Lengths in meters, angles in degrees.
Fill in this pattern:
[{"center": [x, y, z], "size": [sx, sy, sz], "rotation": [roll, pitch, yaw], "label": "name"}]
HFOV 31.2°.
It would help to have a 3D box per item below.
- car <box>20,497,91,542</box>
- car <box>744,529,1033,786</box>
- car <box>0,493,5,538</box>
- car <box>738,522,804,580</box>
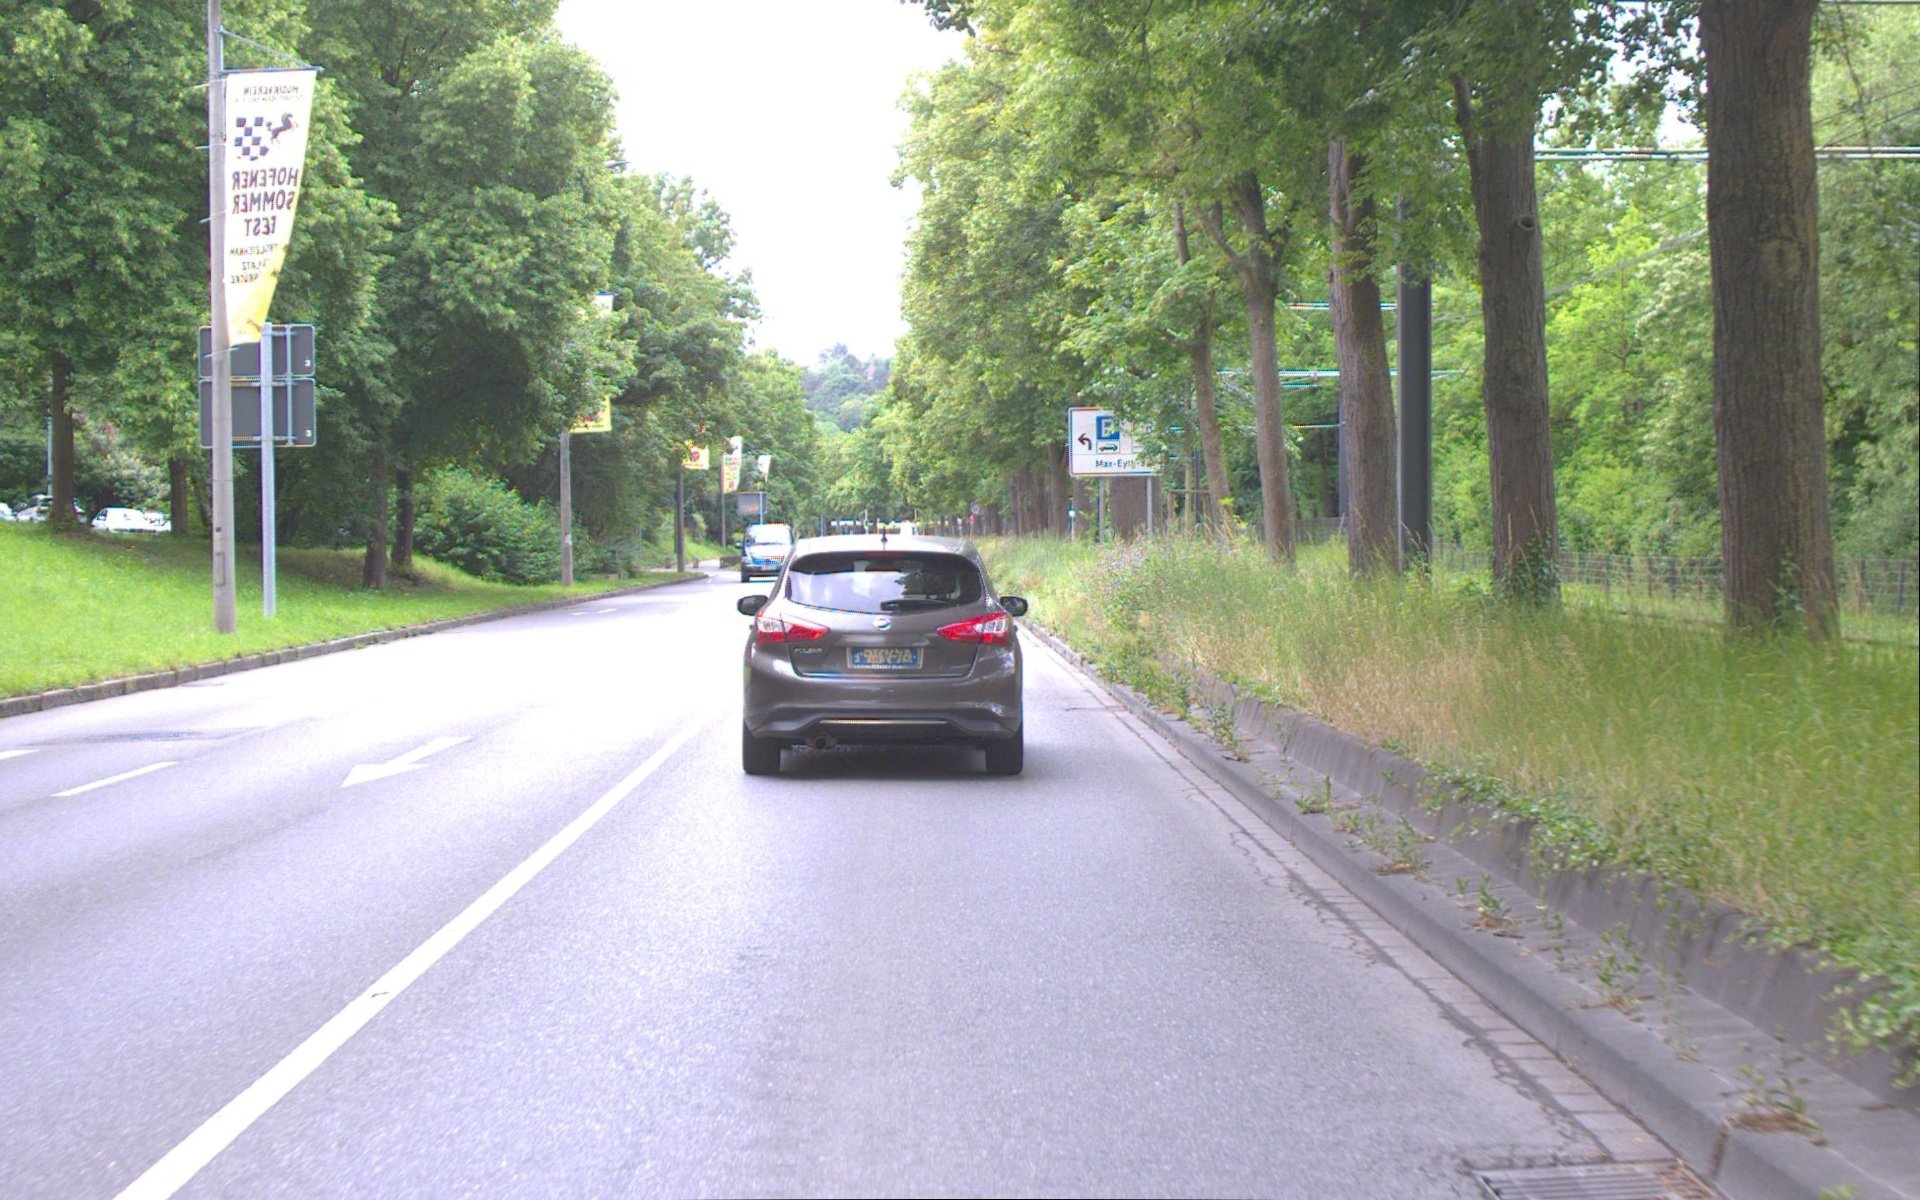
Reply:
[{"center": [-30.471, -2.705, 115.718], "size": [1.645, 1.481, 4.001], "rotation": [1, 1, -24], "label": "car"}, {"center": [-0.475, 0.323, 22.581], "size": [1.730, 1.532, 3.552], "rotation": [1, 1, -1], "label": "car"}, {"center": [-33.167, -2.828, 115.168], "size": [1.645, 1.481, 4.001], "rotation": [1, 1, -24], "label": "car"}, {"center": [-6.467, -1.680, 118.063], "size": [1.993, 1.949, 5.184], "rotation": [-1, 1, 0], "label": "car"}]
